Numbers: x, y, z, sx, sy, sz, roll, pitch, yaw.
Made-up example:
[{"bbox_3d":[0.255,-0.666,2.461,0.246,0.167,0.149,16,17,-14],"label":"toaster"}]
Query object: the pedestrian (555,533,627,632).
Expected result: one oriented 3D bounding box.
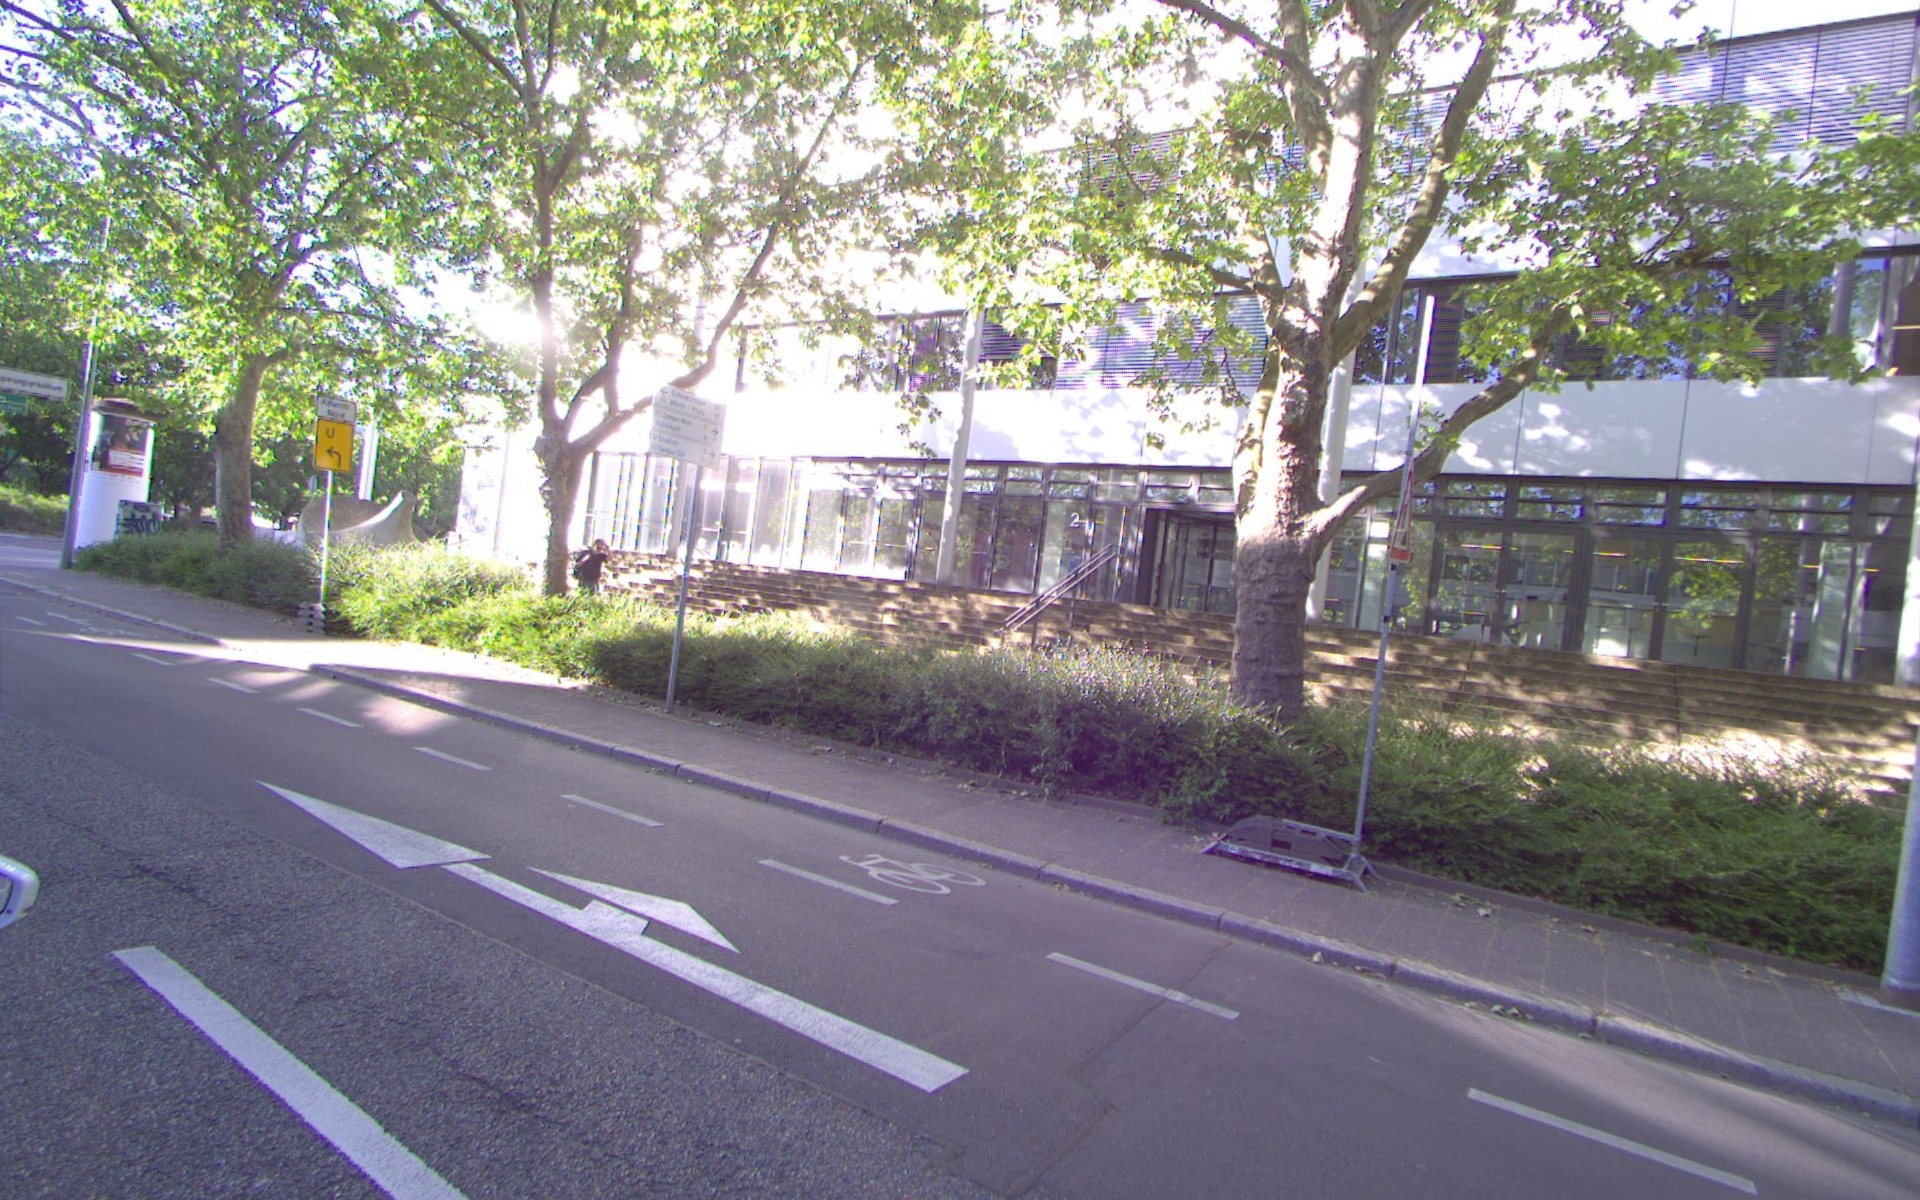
[{"bbox_3d":[-7.231,-0.339,19.731,0.848,1.802,0.785,7,0,30],"label":"pedestrian"}]
